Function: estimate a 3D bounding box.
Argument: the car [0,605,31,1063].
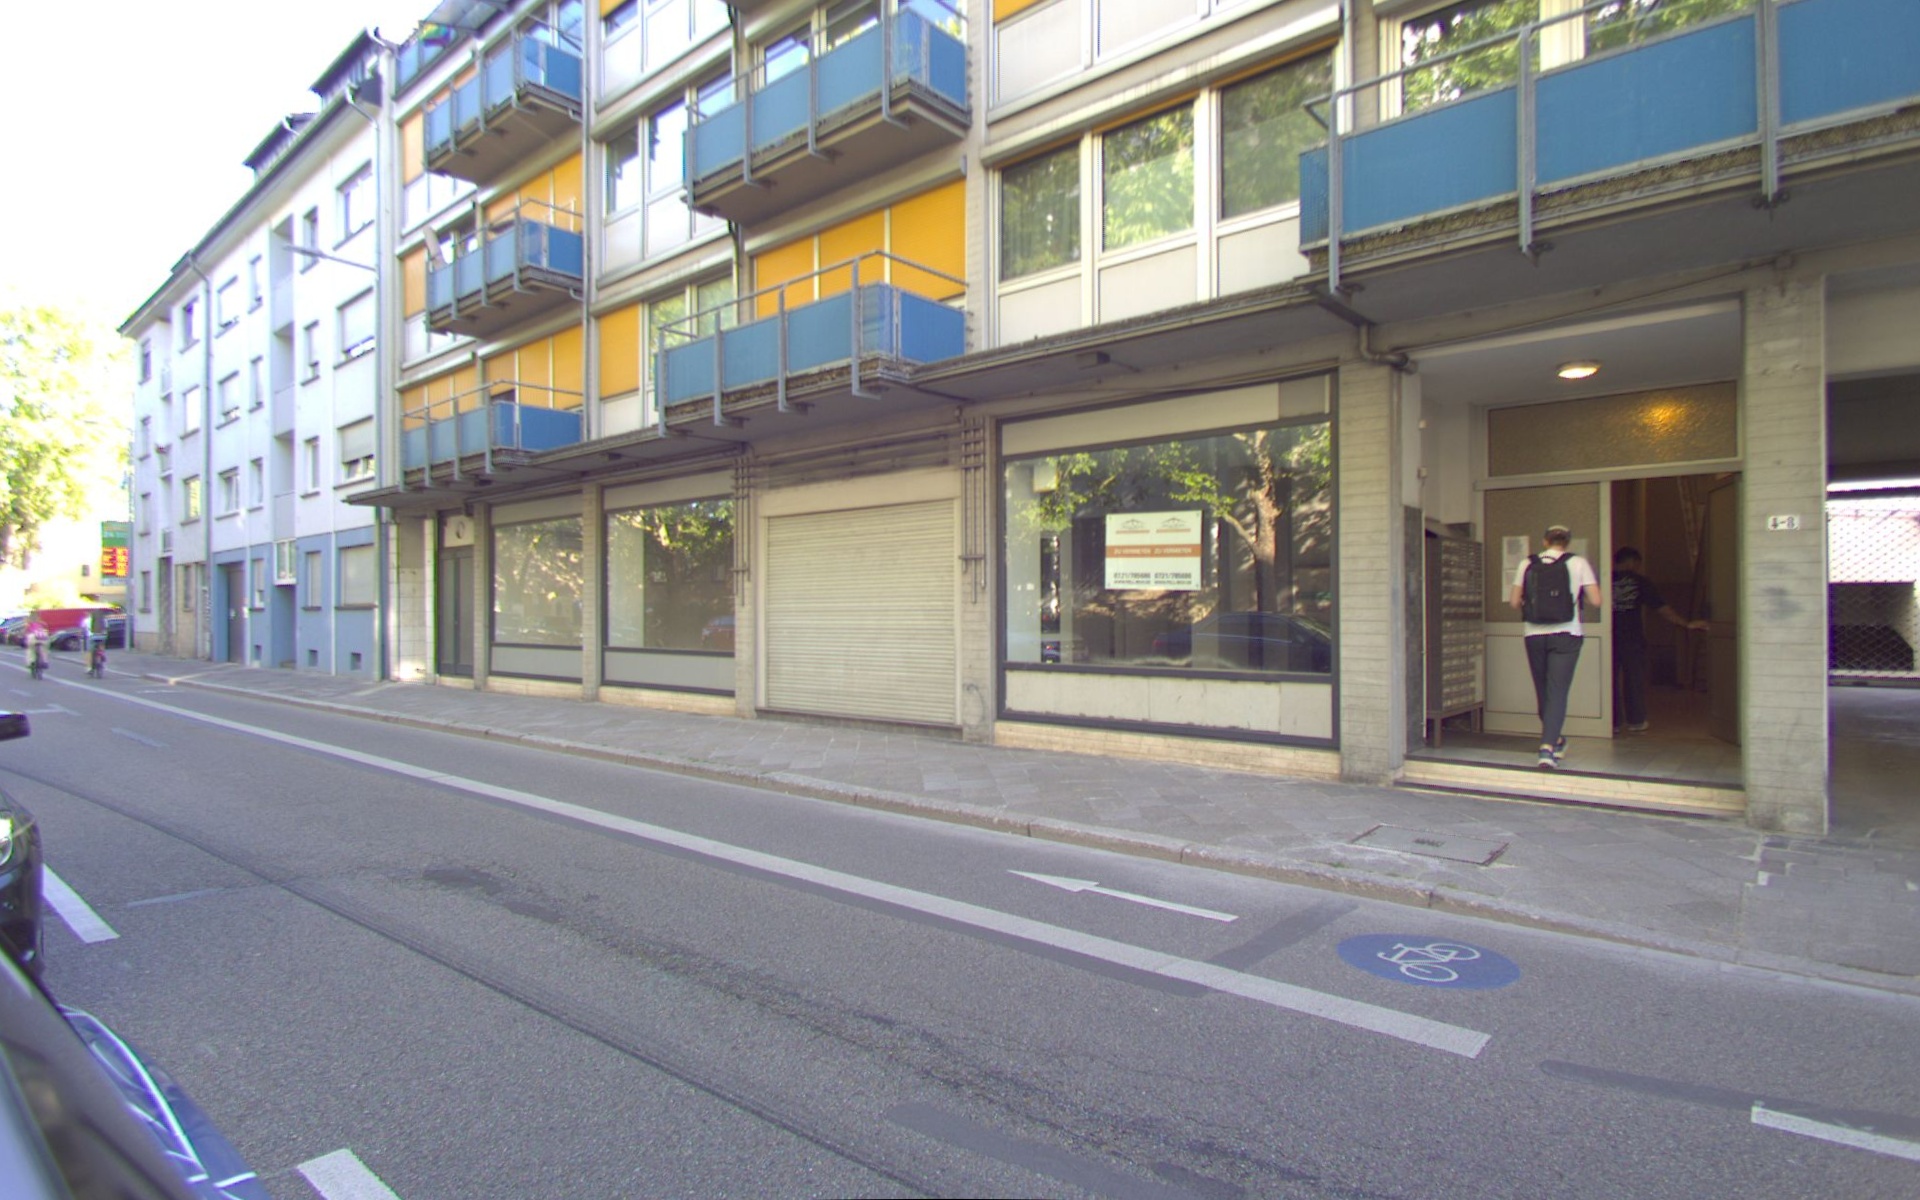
[{"bbox_3d":[-5.049,0.783,3.891,3.861,1.467,1.718,-1,-1,40],"label":"car"}]

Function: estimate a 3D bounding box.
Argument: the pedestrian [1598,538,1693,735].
[{"bbox_3d":[6.271,0.325,9.260,0.661,1.726,0.541,-1,-1,38],"label":"pedestrian"}]

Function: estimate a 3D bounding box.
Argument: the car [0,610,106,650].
[{"bbox_3d":[-53.314,1.729,59.209,1.999,2.210,4.927,-1,-1,41],"label":"car"}]

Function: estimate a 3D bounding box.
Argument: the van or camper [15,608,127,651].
[{"bbox_3d":[-43.889,1.424,50.017,1.999,2.029,3.946,-1,-1,40],"label":"van or camper"}]

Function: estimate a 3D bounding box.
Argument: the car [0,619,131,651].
[{"bbox_3d":[-45.722,1.744,51.709,1.999,1.506,4.927,-1,-1,41],"label":"car"}]

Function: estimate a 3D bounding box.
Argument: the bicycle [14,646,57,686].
[{"bbox_3d":[-23.943,1.686,26.197,1.863,0.936,0.686,-1,-1,44],"label":"bicycle"}]

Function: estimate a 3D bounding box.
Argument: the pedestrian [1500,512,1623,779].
[{"bbox_3d":[4.405,0.302,7.403,0.601,1.813,0.867,-1,0,40],"label":"pedestrian"}]

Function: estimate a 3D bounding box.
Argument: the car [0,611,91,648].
[{"bbox_3d":[-57.395,1.814,62.869,1.999,2.210,4.927,-1,-1,41],"label":"car"}]

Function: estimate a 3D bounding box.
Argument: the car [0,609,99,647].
[{"bbox_3d":[-55.401,1.664,61.160,1.999,2.210,4.927,-1,-1,41],"label":"car"}]

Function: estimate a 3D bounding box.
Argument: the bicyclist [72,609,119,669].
[{"bbox_3d":[-23.133,1.042,27.080,0.839,1.566,0.833,-1,-1,40],"label":"bicyclist"}]

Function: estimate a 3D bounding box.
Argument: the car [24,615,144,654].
[{"bbox_3d":[-41.633,1.613,48.175,1.999,1.703,4.093,-1,-1,41],"label":"car"}]

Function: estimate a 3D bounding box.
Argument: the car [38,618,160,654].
[{"bbox_3d":[-39.753,1.625,46.790,1.999,1.506,4.093,-1,-1,41],"label":"car"}]

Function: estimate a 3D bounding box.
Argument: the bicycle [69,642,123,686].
[{"bbox_3d":[-23.108,1.699,27.053,1.835,1.087,0.854,-1,-1,41],"label":"bicycle"}]

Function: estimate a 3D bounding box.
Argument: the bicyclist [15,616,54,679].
[{"bbox_3d":[-23.929,1.213,26.177,0.982,1.590,0.677,-1,-1,43],"label":"bicyclist"}]
